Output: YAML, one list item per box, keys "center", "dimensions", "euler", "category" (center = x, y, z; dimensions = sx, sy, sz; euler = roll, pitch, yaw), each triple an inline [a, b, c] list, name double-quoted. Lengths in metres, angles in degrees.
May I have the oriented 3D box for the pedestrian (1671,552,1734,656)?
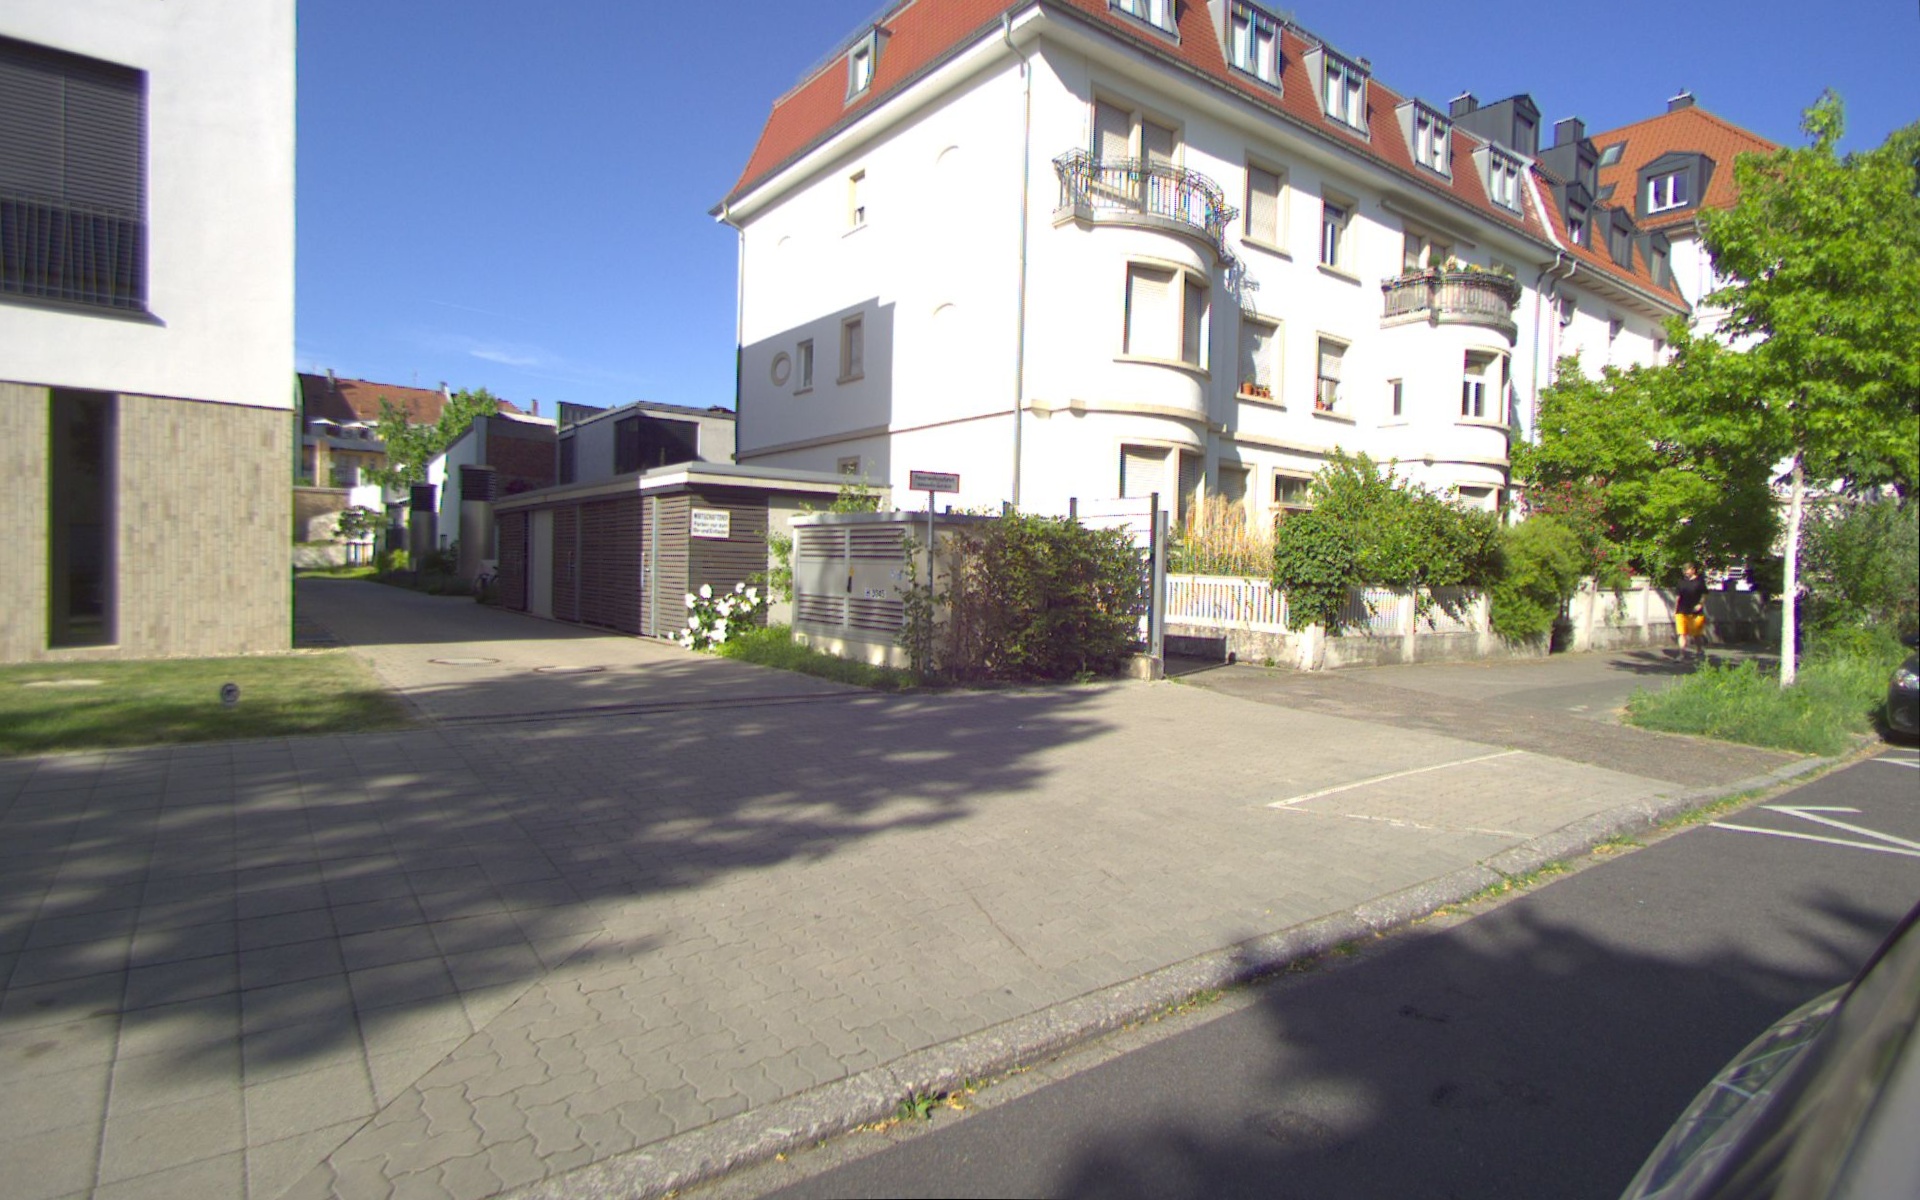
- center: [13.340, 0.062, 18.180]
  dimensions: [0.785, 1.796, 0.624]
  euler: [0, 3, -37]
  category: "pedestrian"

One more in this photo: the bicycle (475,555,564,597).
- center: [-12.714, -0.687, 29.279]
  dimensions: [2.263, 1.138, 0.662]
  euler: [1, 2, -16]
  category: "bicycle"

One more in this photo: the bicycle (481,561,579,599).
- center: [-11.238, -0.522, 26.474]
  dimensions: [2.267, 0.936, 0.661]
  euler: [0, 2, -35]
  category: "bicycle"

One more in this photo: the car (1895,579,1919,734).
- center: [11.167, 0.580, 10.268]
  dimensions: [4.006, 1.466, 1.706]
  euler: [0, 3, -37]
  category: "car"
